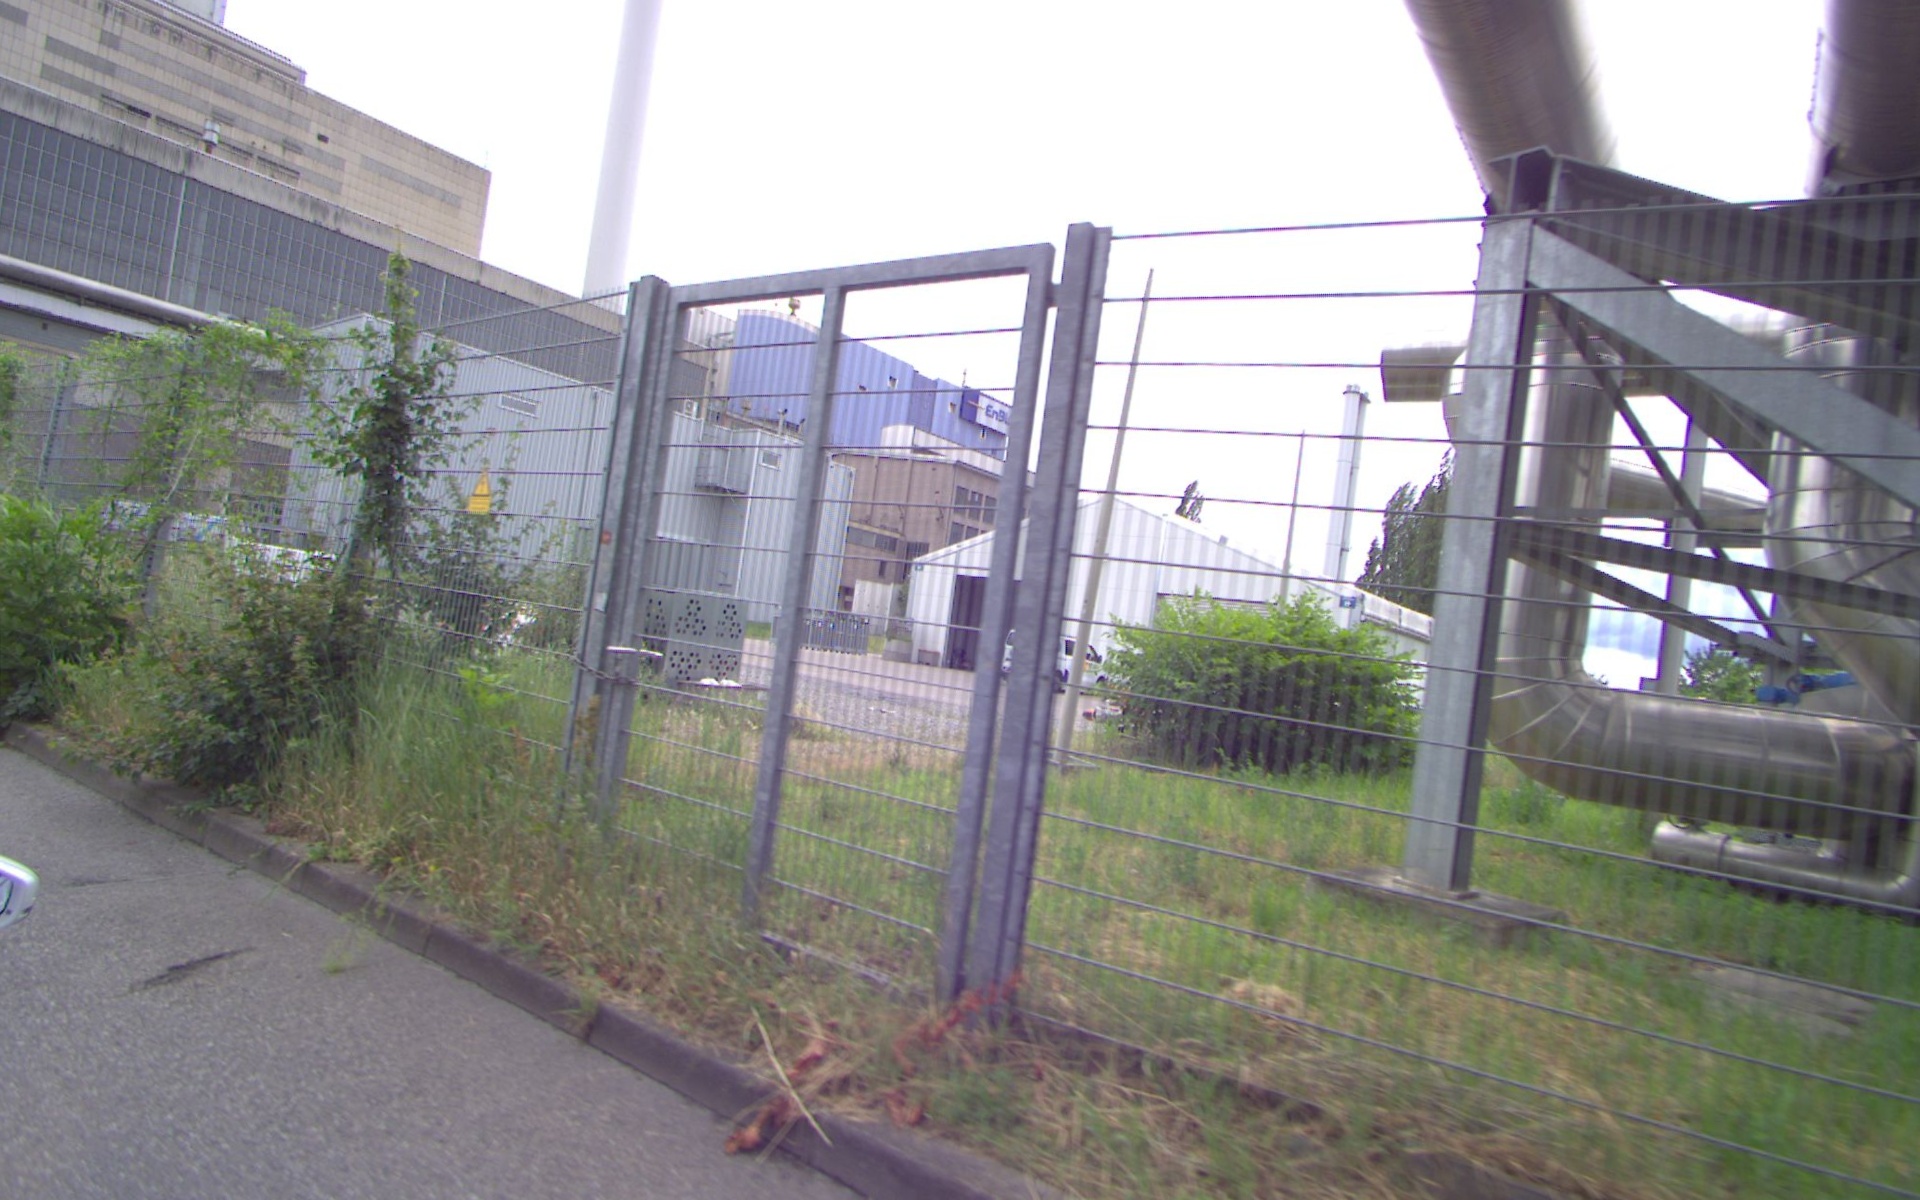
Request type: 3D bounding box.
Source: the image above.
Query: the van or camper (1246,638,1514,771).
[{"bbox_3d":[11.354,2.780,27.505,6.040,2.578,2.566,7,-2,41],"label":"van or camper"}]

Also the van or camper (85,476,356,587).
[{"bbox_3d":[-43.961,-3.879,60.650,5.384,4.581,11.858,6,-3,20],"label":"van or camper"}]

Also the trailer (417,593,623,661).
[{"bbox_3d":[-9.862,0.583,22.422,4.621,0.825,2.299,7,-2,39],"label":"trailer"}]

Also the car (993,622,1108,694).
[{"bbox_3d":[3.271,2.092,35.509,1.968,2.036,4.332,7,-2,34],"label":"car"}]
